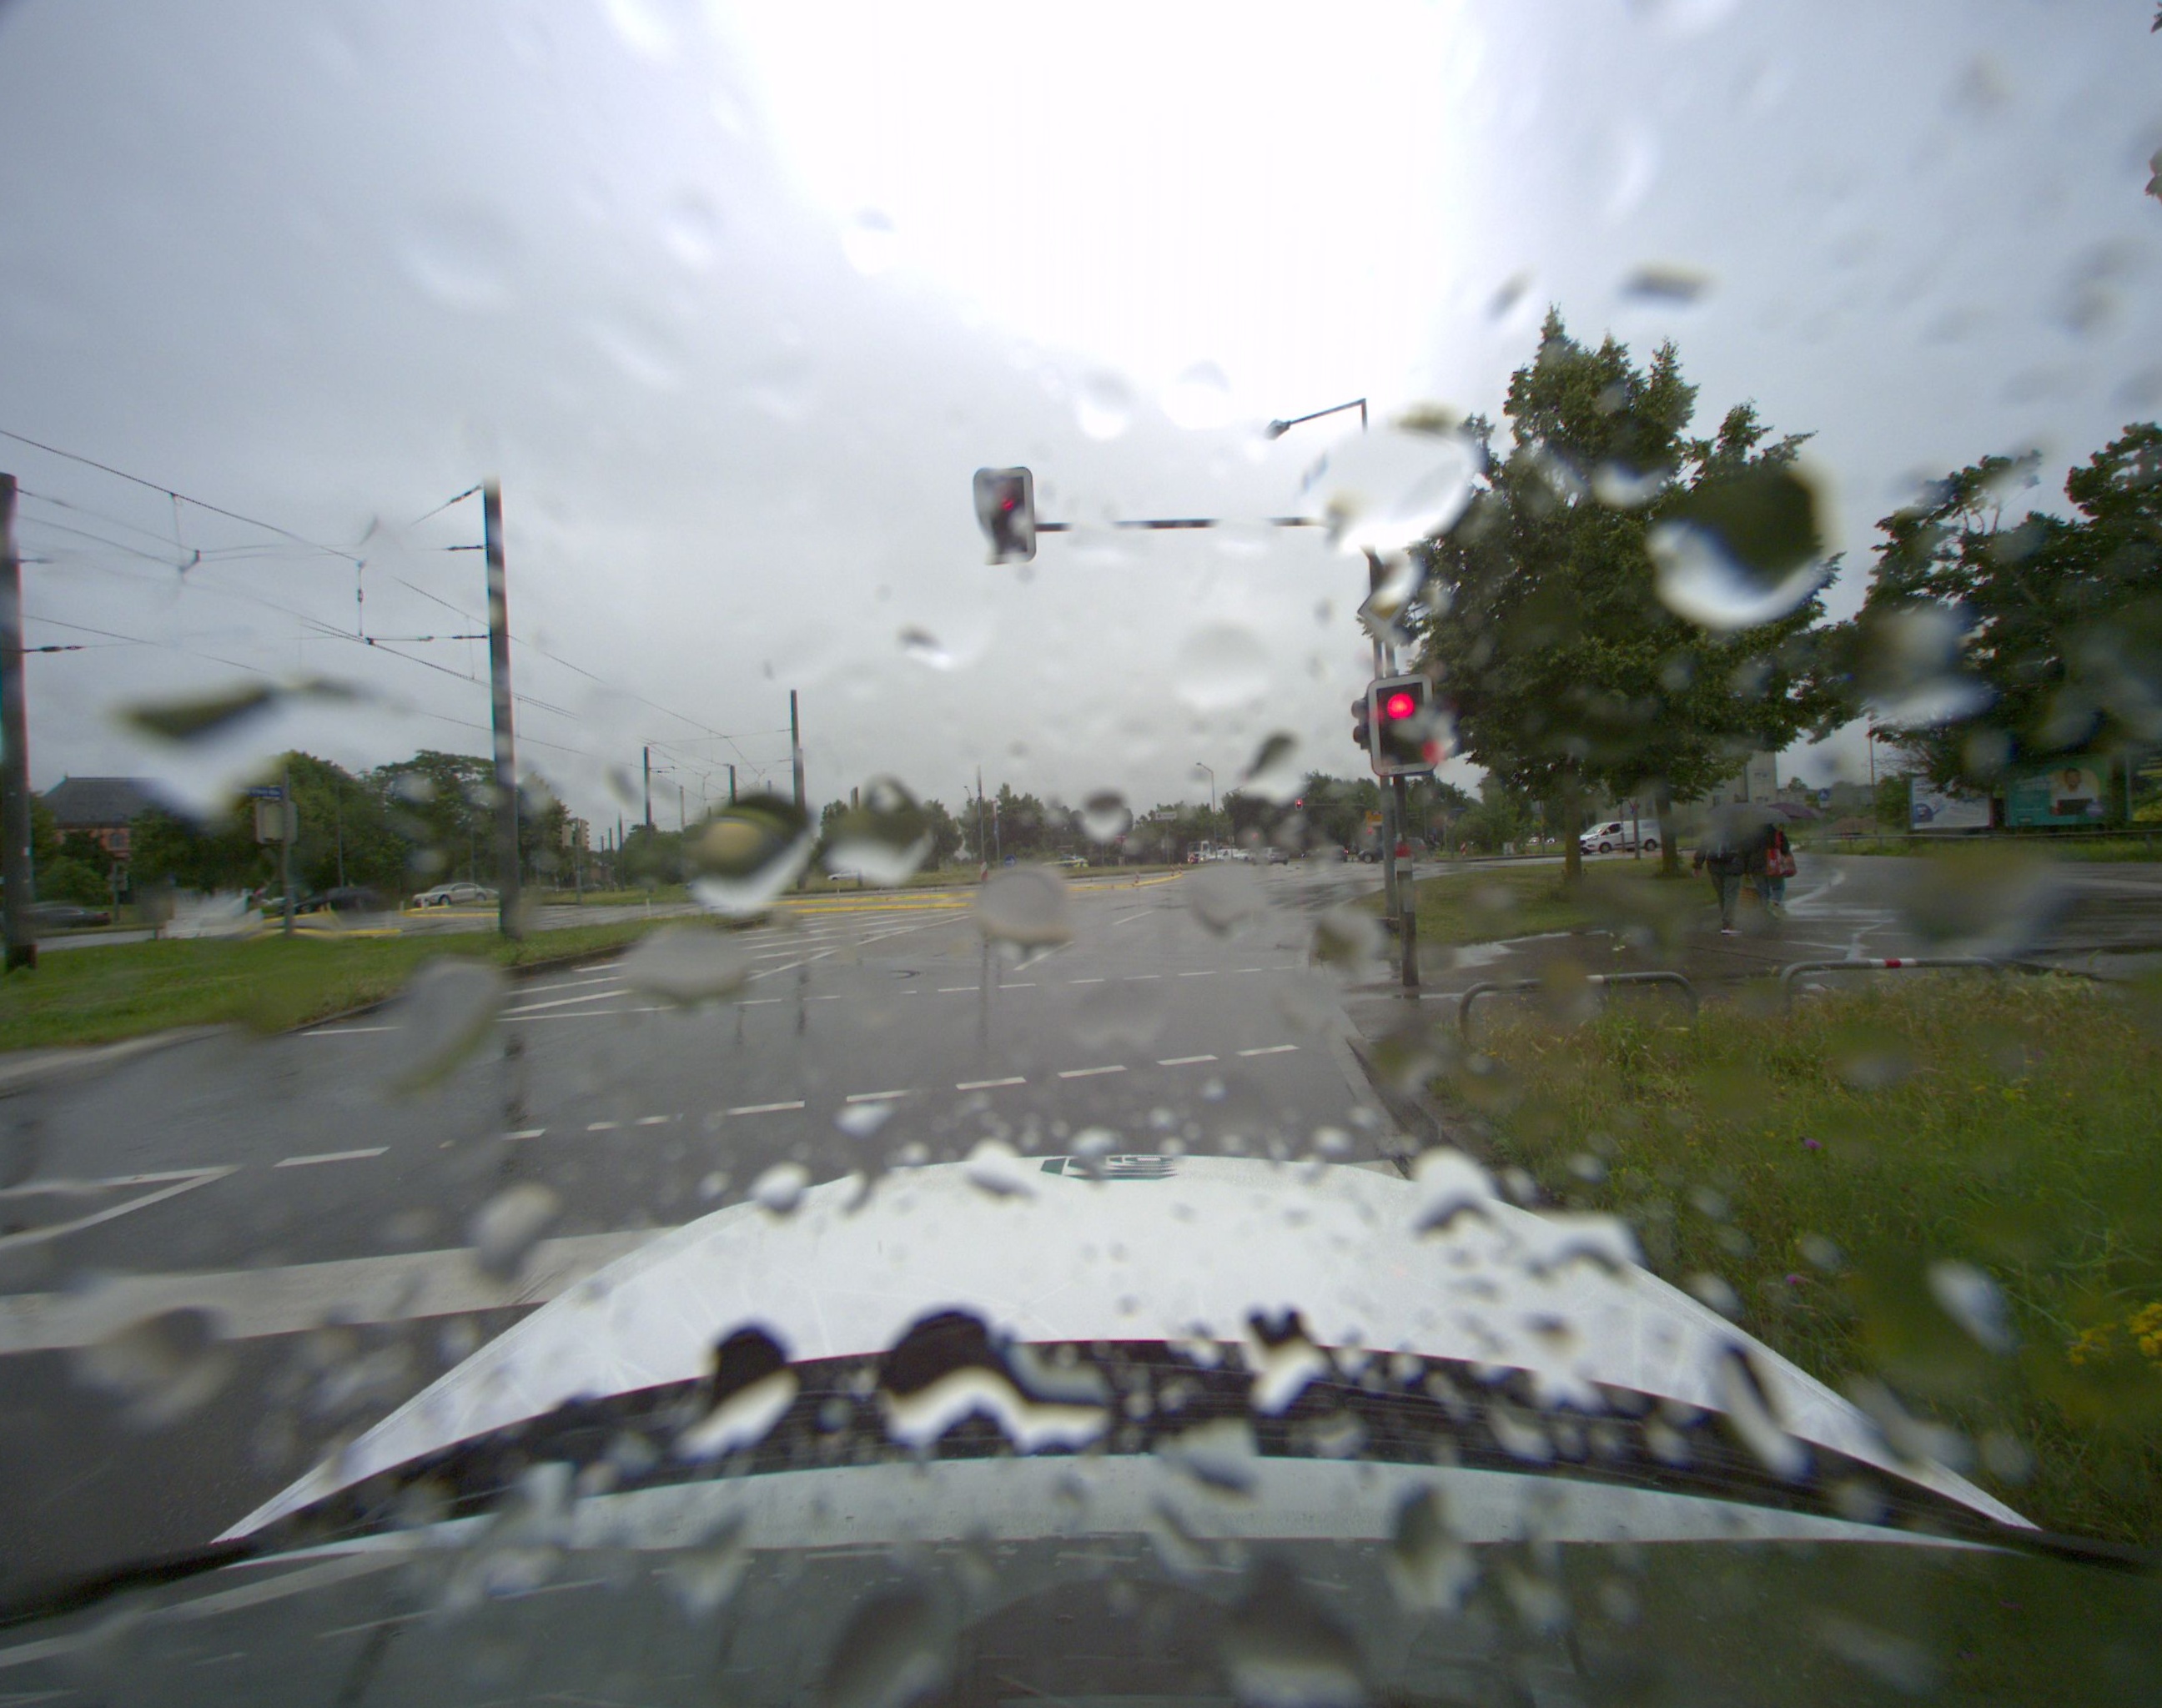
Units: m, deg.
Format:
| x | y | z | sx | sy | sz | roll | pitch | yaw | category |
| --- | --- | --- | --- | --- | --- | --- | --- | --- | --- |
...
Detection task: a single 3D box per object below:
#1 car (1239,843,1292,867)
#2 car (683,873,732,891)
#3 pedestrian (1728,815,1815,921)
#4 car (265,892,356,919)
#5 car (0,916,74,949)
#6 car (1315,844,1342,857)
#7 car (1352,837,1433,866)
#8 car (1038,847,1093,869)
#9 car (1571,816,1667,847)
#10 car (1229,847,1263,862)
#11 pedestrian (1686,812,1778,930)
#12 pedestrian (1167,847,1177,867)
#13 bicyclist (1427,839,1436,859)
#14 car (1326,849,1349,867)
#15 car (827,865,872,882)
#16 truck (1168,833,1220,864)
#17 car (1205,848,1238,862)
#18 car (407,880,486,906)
| x | y | z | sx | sy | sz | roll | pitch | yaw | category |
| --- | --- | --- | --- | --- | --- | --- | --- | --- | --- |
| 14.876 | 0.134 | 66.024 | 2.000 | 1.851 | 4.744 | 0 | -1 | -20 | car |
| -34.876 | 2.621 | 76.018 | 4.001 | 1.454 | 1.607 | -2 | 0 | -32 | car |
| 10.055 | 0.201 | 11.870 | 0.678 | 1.461 | 0.573 | -3 | -1 | -3 | pedestrian |
| -50.622 | 3.390 | 53.562 | 1.603 | 1.454 | 4.012 | -3 | 0 | 27 | car |
| -56.026 | 4.141 | 42.963 | 1.601 | 1.543 | 3.505 | -1 | -1 | 35 | car |
| 33.280 | -0.478 | 109.431 | 1.779 | 1.662 | 4.437 | -3 | 0 | 43 | car |
| 20.960 | -0.121 | 54.858 | 4.714 | 1.851 | 2.013 | -1 | -1 | 34 | car |
| -1.411 | 0.387 | 74.715 | 4.713 | 1.851 | 2.013 | -3 | 0 | 37 | car |
| 33.963 | -1.426 | 51.467 | 4.743 | 1.851 | 2.000 | 0 | -1 | 1 | car |
| 19.115 | 0.113 | 94.338 | 1.779 | 1.662 | 4.436 | -1 | -1 | 43 | car |
| 8.660 | 0.221 | 10.864 | 0.619 | 1.522 | 0.741 | -1 | 0 | 0 | pedestrian |
| 6.065 | 0.225 | 54.334 | 0.448 | 1.304 | 0.489 | -3 | -1 | 40 | pedestrian |
| 29.639 | -0.426 | 68.905 | 0.494 | 1.742 | 0.590 | 0 | -1 | -5 | bicyclist |
| 22.212 | 0.312 | 70.667 | 1.606 | 1.454 | 4.003 | -2 | 0 | 14 | car |
| -22.394 | 1.852 | 78.943 | 3.973 | 1.454 | 1.619 | -2 | 0 | -9 | car |
| 10.380 | -0.414 | 74.049 | 2.439 | 2.686 | 8.105 | -1 | -1 | 25 | truck |
| 16.600 | 0.155 | 96.071 | 1.779 | 1.662 | 4.159 | -1 | -1 | 43 | car |
| -41.639 | 2.554 | 53.563 | 1.610 | 1.454 | 4.119 | -2 | 0 | 5 | car |
